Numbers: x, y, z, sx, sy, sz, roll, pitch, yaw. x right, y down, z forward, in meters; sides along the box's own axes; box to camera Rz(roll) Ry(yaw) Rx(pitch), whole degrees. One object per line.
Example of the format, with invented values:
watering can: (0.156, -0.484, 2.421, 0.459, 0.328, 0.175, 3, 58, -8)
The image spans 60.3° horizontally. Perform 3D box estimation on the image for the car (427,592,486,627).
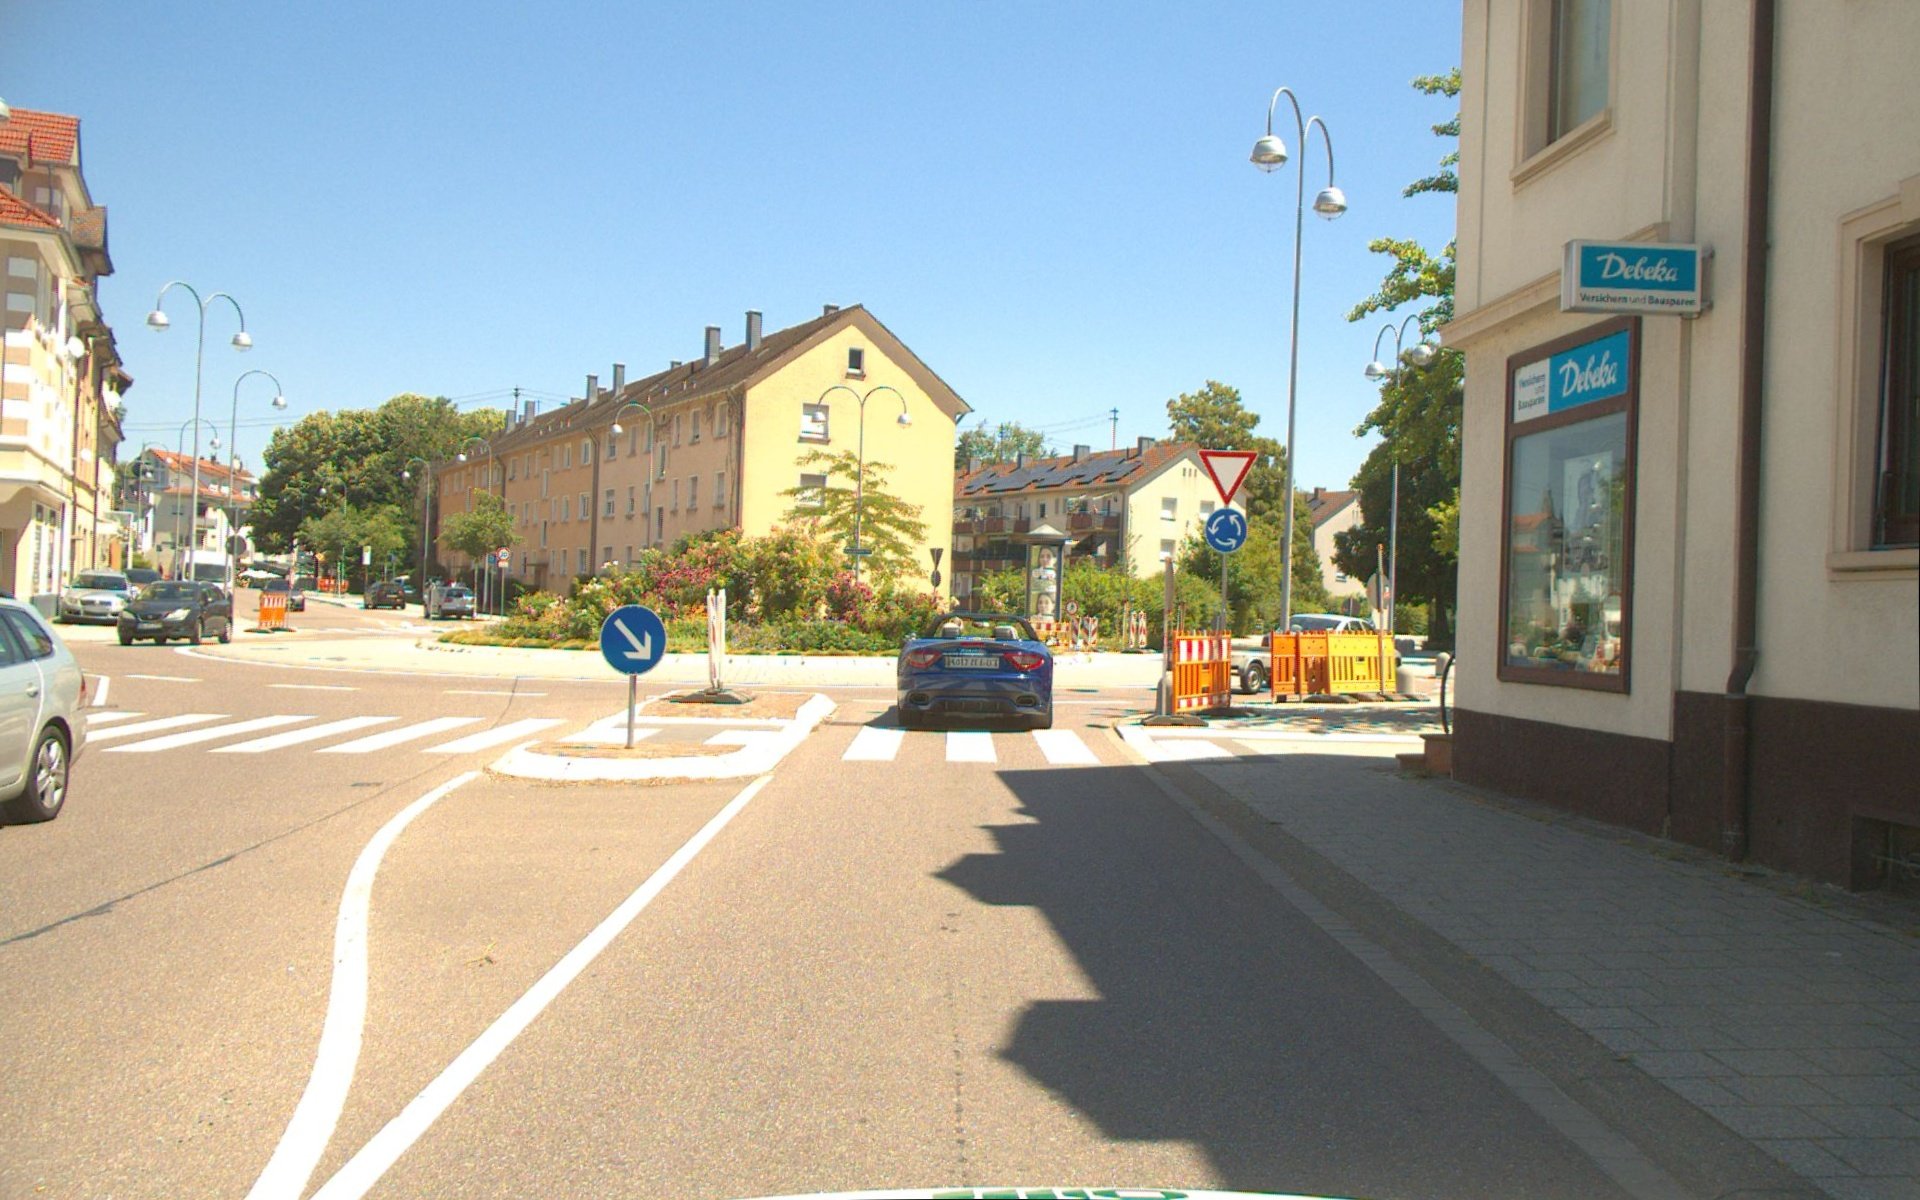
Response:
car: (-23.849, 0.429, 78.282, 1.793, 1.526, 3.959, 4, -1, -30)

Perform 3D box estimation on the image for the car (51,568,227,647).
car: (-18.421, 0.128, 37.093, 3.936, 1.477, 1.662, 3, 4, 30)

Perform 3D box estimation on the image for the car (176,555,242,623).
car: (-31.301, -0.445, 68.859, 2.119, 2.577, 6.183, 4, -1, -27)

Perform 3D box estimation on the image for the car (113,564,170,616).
car: (-28.853, -0.358, 58.370, 1.578, 1.645, 4.060, 4, -1, -25)

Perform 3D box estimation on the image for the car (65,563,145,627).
car: (-24.522, -0.148, 47.559, 1.753, 1.715, 4.657, 2, 0, -25)

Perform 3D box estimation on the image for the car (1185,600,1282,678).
car: (5.411, 0.748, 33.040, 1.702, 1.461, 3.713, 0, 0, 6)

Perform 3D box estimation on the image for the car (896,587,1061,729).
car: (0.332, 0.722, 21.010, 1.831, 1.557, 4.508, 1, -2, 3)

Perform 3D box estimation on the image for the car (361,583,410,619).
car: (-32.080, 0.042, 92.356, 1.793, 1.825, 3.959, 4, -1, -30)

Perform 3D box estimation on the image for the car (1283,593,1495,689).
car: (8.468, 0.813, 32.546, 4.078, 1.777, 1.766, 2, 0, -34)

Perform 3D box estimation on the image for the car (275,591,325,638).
car: (-31.068, 0.681, 77.938, 1.964, 2.049, 3.976, 3, -1, -20)

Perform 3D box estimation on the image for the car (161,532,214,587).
car: (-39.002, -2.003, 83.430, 2.119, 2.577, 4.812, 4, -1, -27)

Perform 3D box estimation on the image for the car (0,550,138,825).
car: (-6.432, 0.583, 9.248, 1.803, 1.556, 4.387, -4, 3, -7)

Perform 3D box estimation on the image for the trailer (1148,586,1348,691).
trailer: (5.134, 0.685, 29.422, 3.156, 1.747, 1.738, 2, 0, -32)
